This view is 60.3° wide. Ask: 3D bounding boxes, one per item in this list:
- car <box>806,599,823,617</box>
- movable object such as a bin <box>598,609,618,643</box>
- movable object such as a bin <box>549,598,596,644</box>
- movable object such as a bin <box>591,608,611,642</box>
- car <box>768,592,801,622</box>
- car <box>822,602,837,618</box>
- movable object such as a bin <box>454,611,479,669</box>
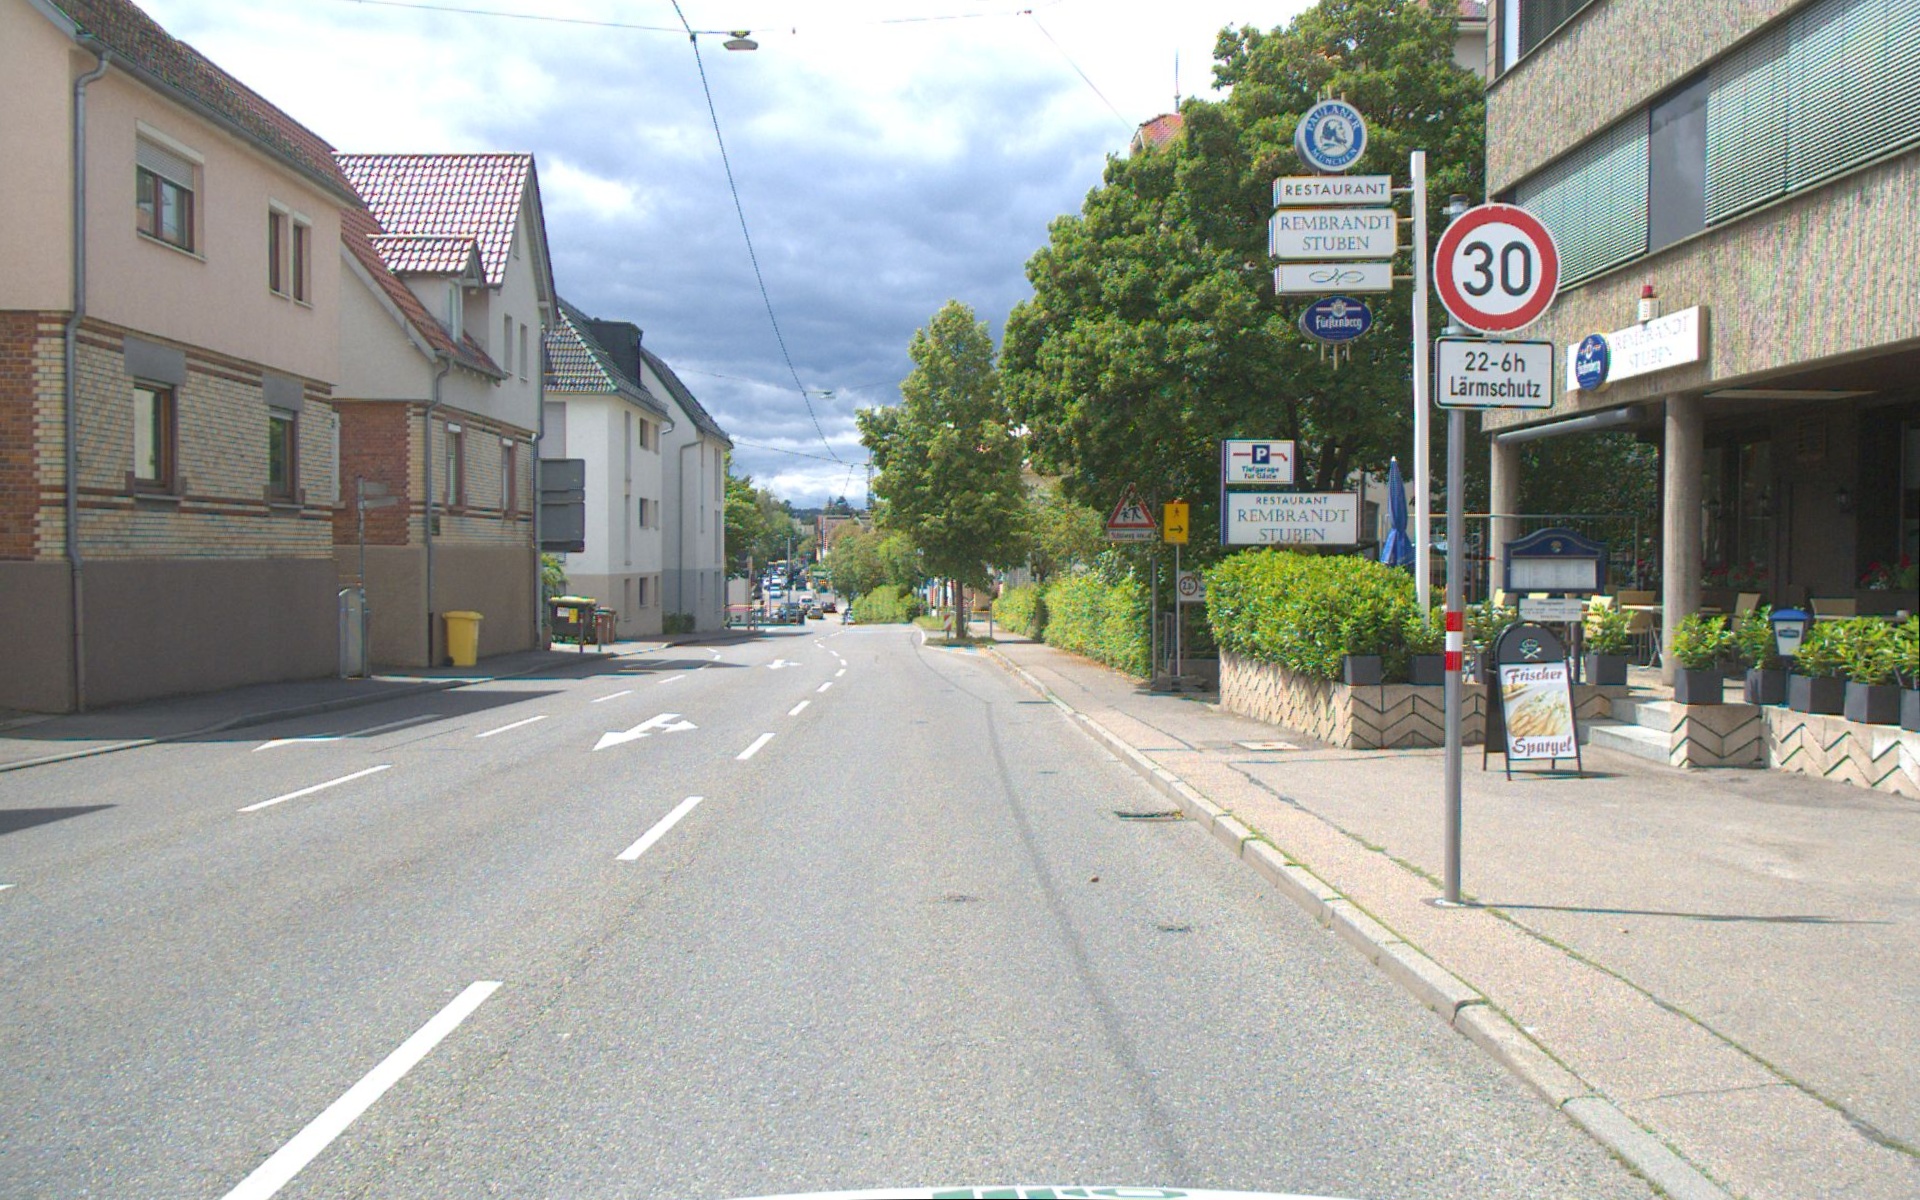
[{"bbox_3d":[-17.834,0.988,202.833,1.955,2.049,3.995,0,-1,-6],"label":"car"},{"bbox_3d":[-10.841,0.804,50.912,0.521,1.048,0.455,0,0,-3],"label":"movable object such as a bin"},{"bbox_3d":[-11.505,0.622,49.142,1.257,1.333,0.815,0,0,-7],"label":"movable object such as a bin"},{"bbox_3d":[-10.892,0.760,50.244,0.521,1.048,0.455,0,0,-3],"label":"movable object such as a bin"},{"bbox_3d":[-12.298,0.475,115.768,1.958,2.049,3.990,0,0,-11],"label":"car"},{"bbox_3d":[-17.267,1.308,218.725,1.955,2.049,3.995,0,-1,-6],"label":"car"},{"bbox_3d":[-9.886,0.805,33.143,0.422,1.148,0.299,-1,0,-3],"label":"movable object such as a bin"}]
